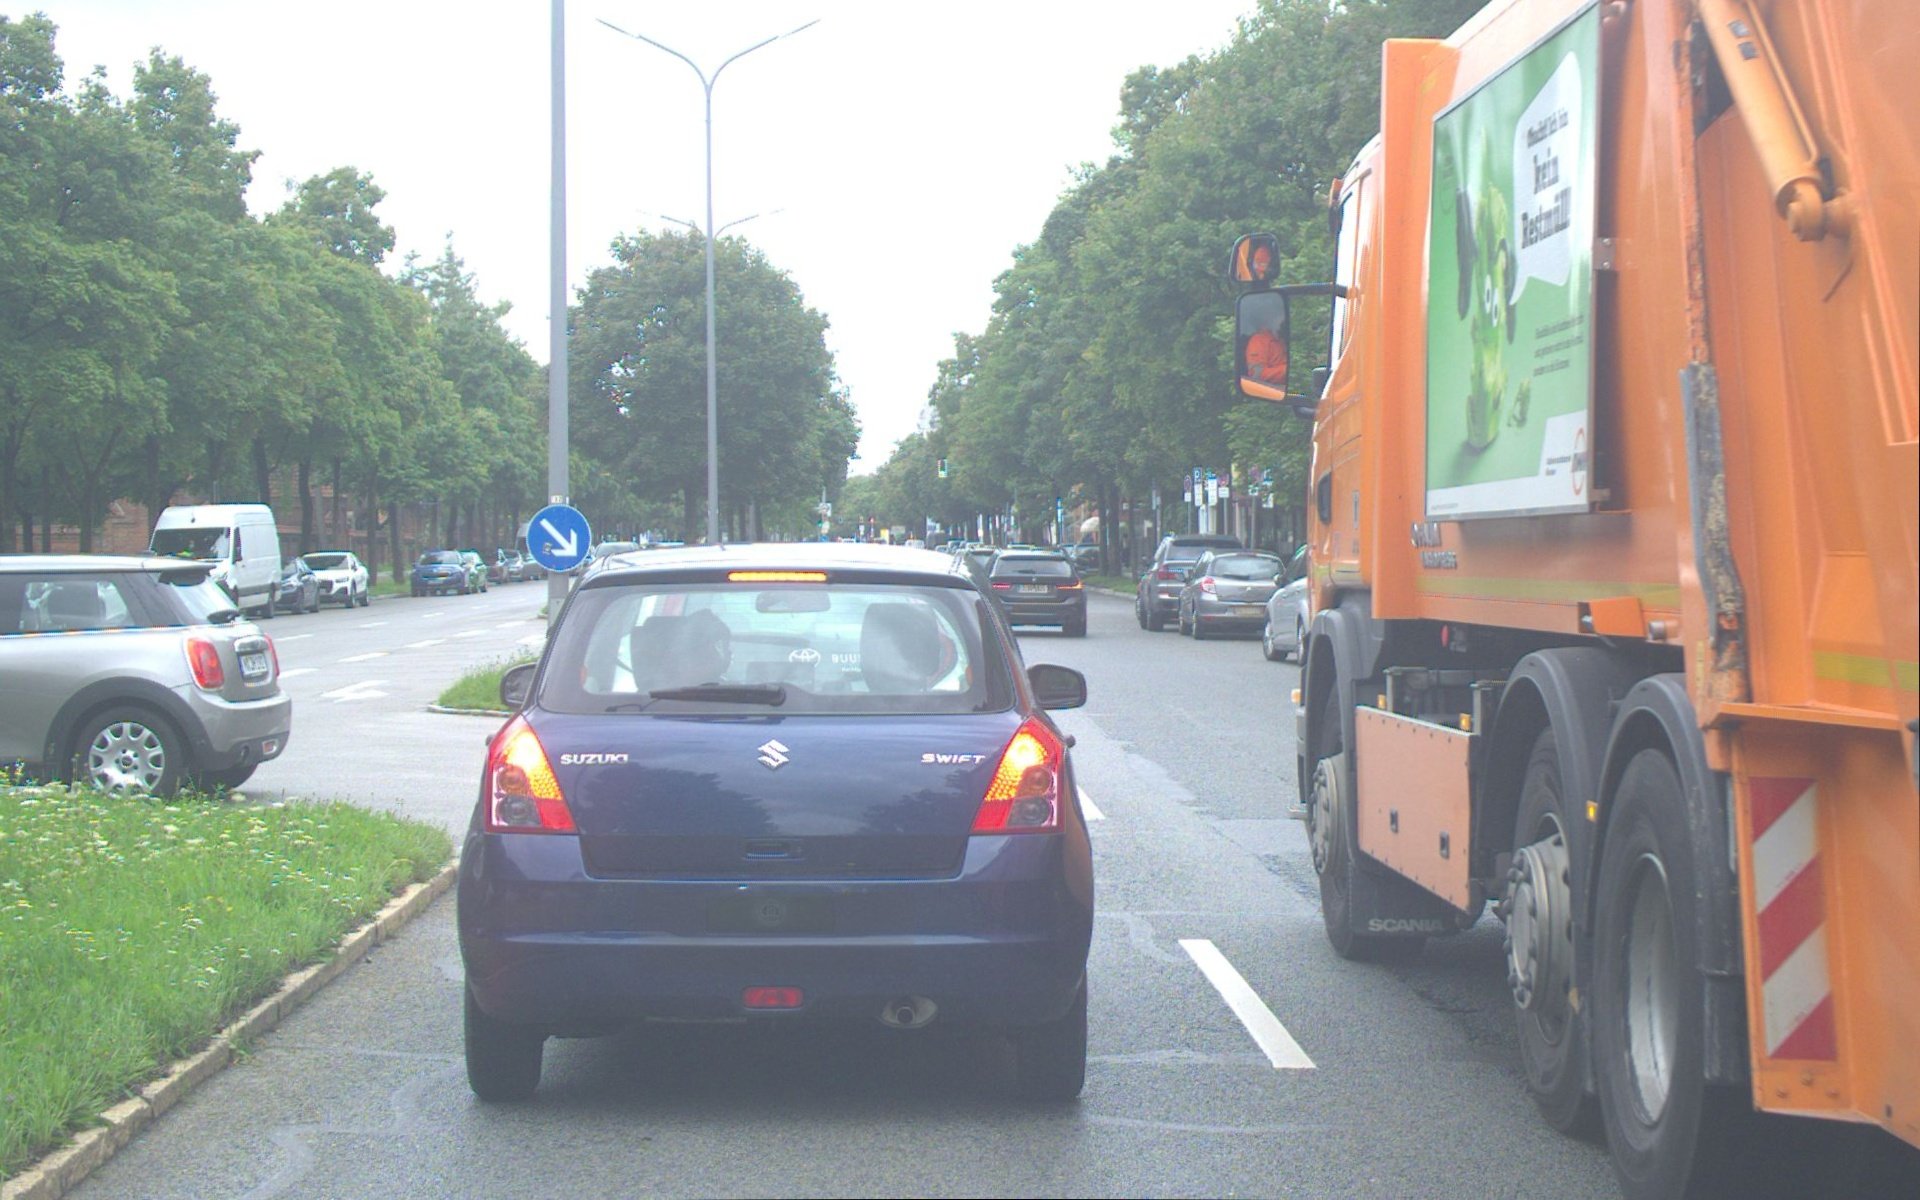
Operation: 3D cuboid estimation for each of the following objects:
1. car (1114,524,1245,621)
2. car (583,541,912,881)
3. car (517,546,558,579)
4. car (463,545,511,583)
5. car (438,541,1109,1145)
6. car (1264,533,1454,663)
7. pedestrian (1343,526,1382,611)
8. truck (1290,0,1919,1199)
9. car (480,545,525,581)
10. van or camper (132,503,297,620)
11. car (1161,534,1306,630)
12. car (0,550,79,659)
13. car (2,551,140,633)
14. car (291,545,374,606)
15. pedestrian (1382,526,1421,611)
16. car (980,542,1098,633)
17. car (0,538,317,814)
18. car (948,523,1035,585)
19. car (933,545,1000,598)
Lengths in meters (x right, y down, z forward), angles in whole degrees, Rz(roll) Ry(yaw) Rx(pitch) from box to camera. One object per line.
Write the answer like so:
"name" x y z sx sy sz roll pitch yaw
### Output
"car" 3.932 -0.523 62.146 1.865 1.677 4.225 -1 1 -3
"car" -0.997 0.463 16.676 1.444 1.478 3.107 0 1 -2
"car" -20.481 -1.837 166.742 1.632 1.577 3.879 1 1 -2
"car" -20.008 -1.532 145.514 1.632 1.577 3.879 1 1 -2
"car" -0.546 0.577 10.595 1.682 1.496 3.919 0 1 -2
"car" 5.060 -0.062 44.077 1.791 1.553 4.225 -1 1 -2
"pedestrian" 9.572 -0.755 81.769 0.794 2.007 1.006 0 1 -1
"truck" 2.872 -0.220 8.861 3.039 3.178 9.134 1 1 -1
"car" -20.660 -1.686 155.326 1.632 1.577 3.879 1 1 -2
"van or camper" -16.588 -0.871 76.896 2.117 2.473 7.449 1 1 0
"car" 4.522 -0.330 57.334 1.865 1.512 4.225 -1 1 -3
"car" -15.961 0.045 57.394 1.632 1.735 3.879 1 1 -2
"car" -16.181 -0.171 62.725 1.632 1.426 3.879 1 1 -2
"car" -16.843 -0.669 92.427 1.632 1.577 3.879 1 1 -2
"pedestrian" 10.511 -0.745 81.825 0.794 2.007 1.006 0 1 -1
"car" 1.286 -0.238 57.601 1.758 1.408 4.463 1 1 -1
"car" -5.663 0.386 19.308 3.722 1.458 1.687 0 1 5
"car" 0.734 -1.142 83.557 1.731 1.427 4.443 1 1 -4
"car" 0.159 -0.786 93.473 1.682 1.379 3.919 1 1 -2
